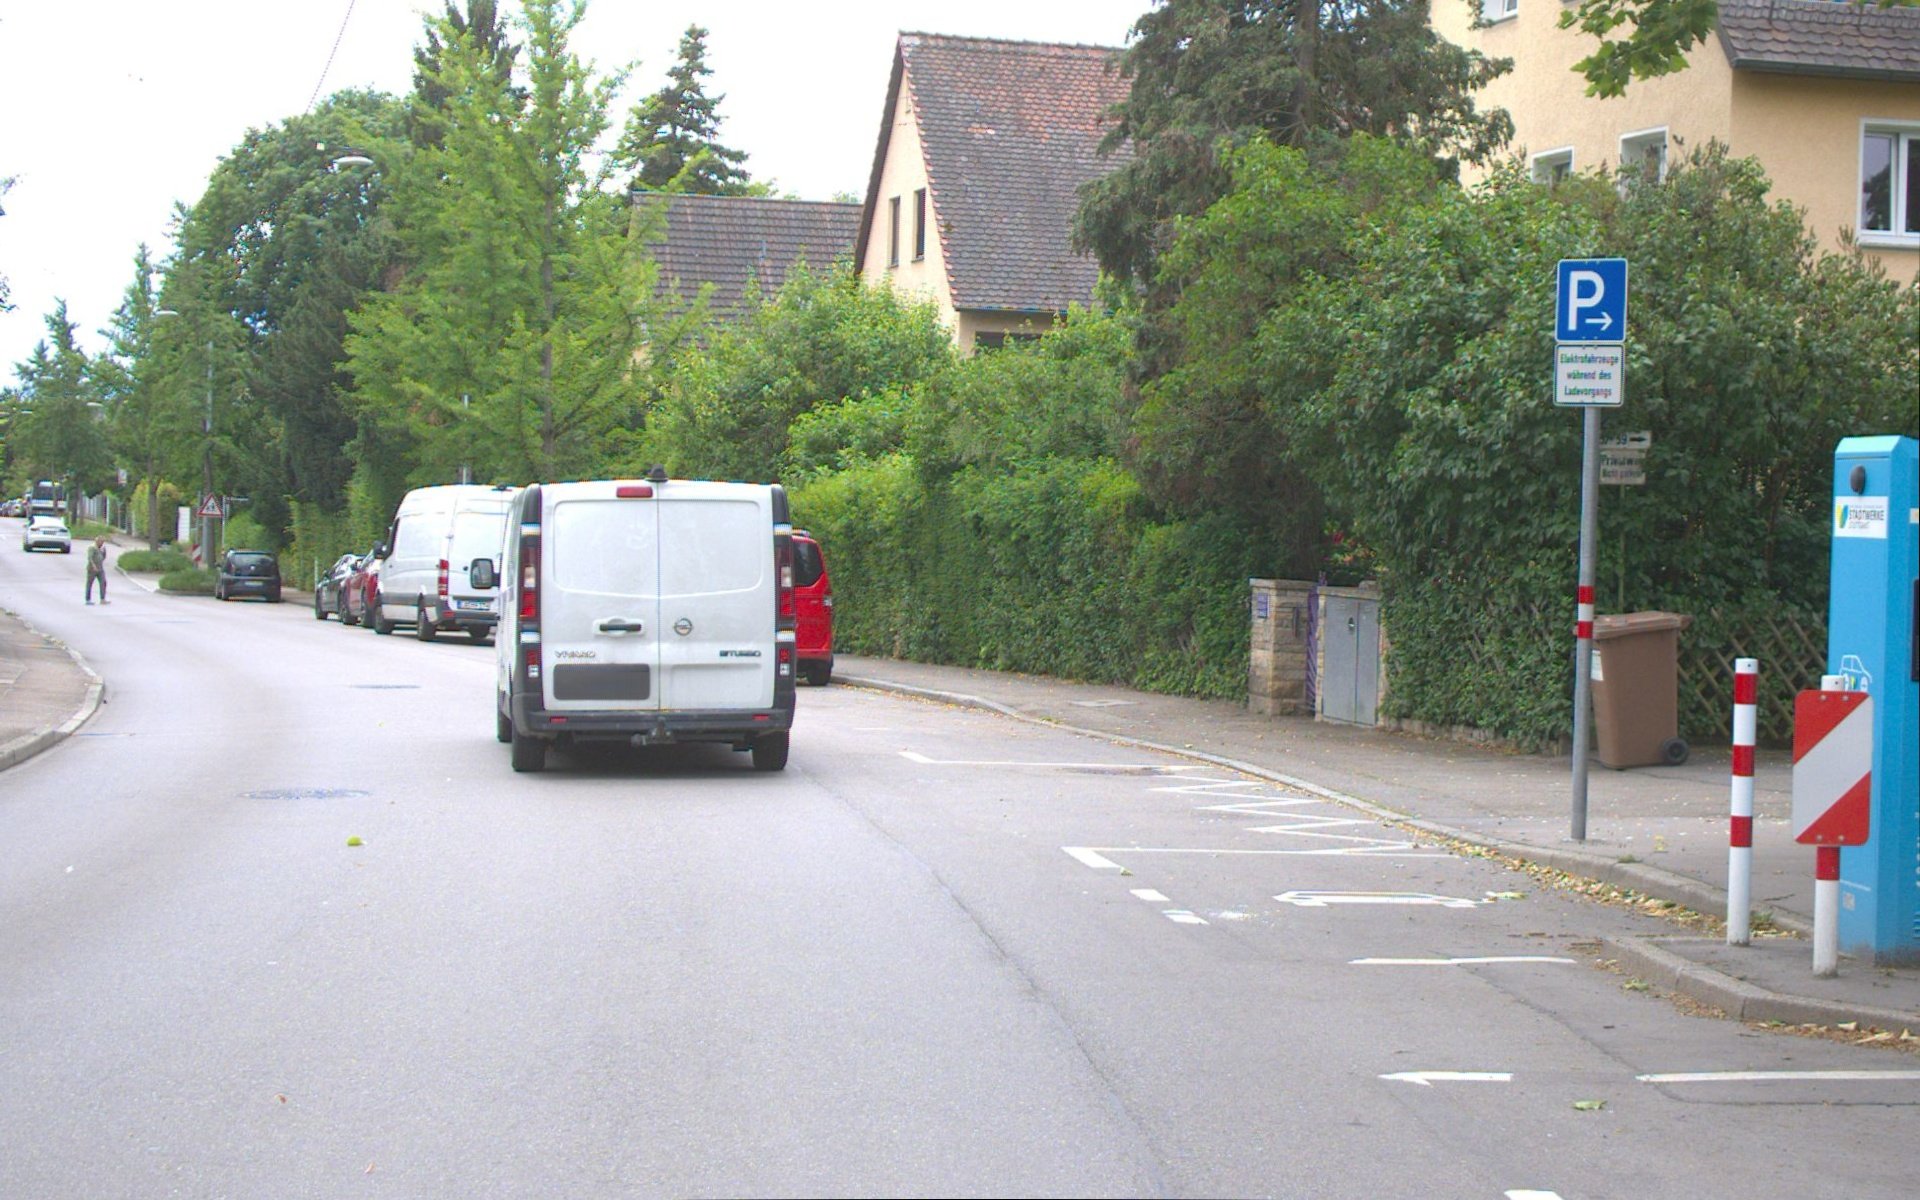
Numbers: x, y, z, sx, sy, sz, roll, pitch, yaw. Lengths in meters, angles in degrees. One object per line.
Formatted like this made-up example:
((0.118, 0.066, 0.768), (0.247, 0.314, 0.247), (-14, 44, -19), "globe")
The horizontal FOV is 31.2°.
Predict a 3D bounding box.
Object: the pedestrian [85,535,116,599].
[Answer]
((-21.450, -0.823, 85.811), (0.555, 1.554, 0.553), (1, 3, 11), "pedestrian")

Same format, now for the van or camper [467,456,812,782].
((-2.388, 0.033, 24.411), (1.923, 2.006, 4.831), (1, 3, -11), "van or camper")

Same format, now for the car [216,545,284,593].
((-20.235, -0.884, 97.924), (1.530, 1.300, 3.229), (0, 1, -18), "car")

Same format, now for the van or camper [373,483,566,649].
((-8.483, -0.610, 58.956), (2.066, 2.665, 6.330), (1, 1, -19), "van or camper")

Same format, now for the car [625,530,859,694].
((-2.665, 0.093, 40.849), (1.760, 1.791, 4.950), (0, 1, -16), "car")

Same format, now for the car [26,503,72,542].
((-40.976, -3.497, 154.594), (1.775, 1.645, 3.646), (0, 3, -19), "car")

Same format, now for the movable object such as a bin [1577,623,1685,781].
((4.701, 0.711, 24.107), (0.603, 1.066, 0.568), (2, 1, -2), "movable object such as a bin")

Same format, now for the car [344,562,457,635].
((-10.873, -0.044, 66.595), (1.530, 1.300, 4.032), (0, 1, -18), "car")
